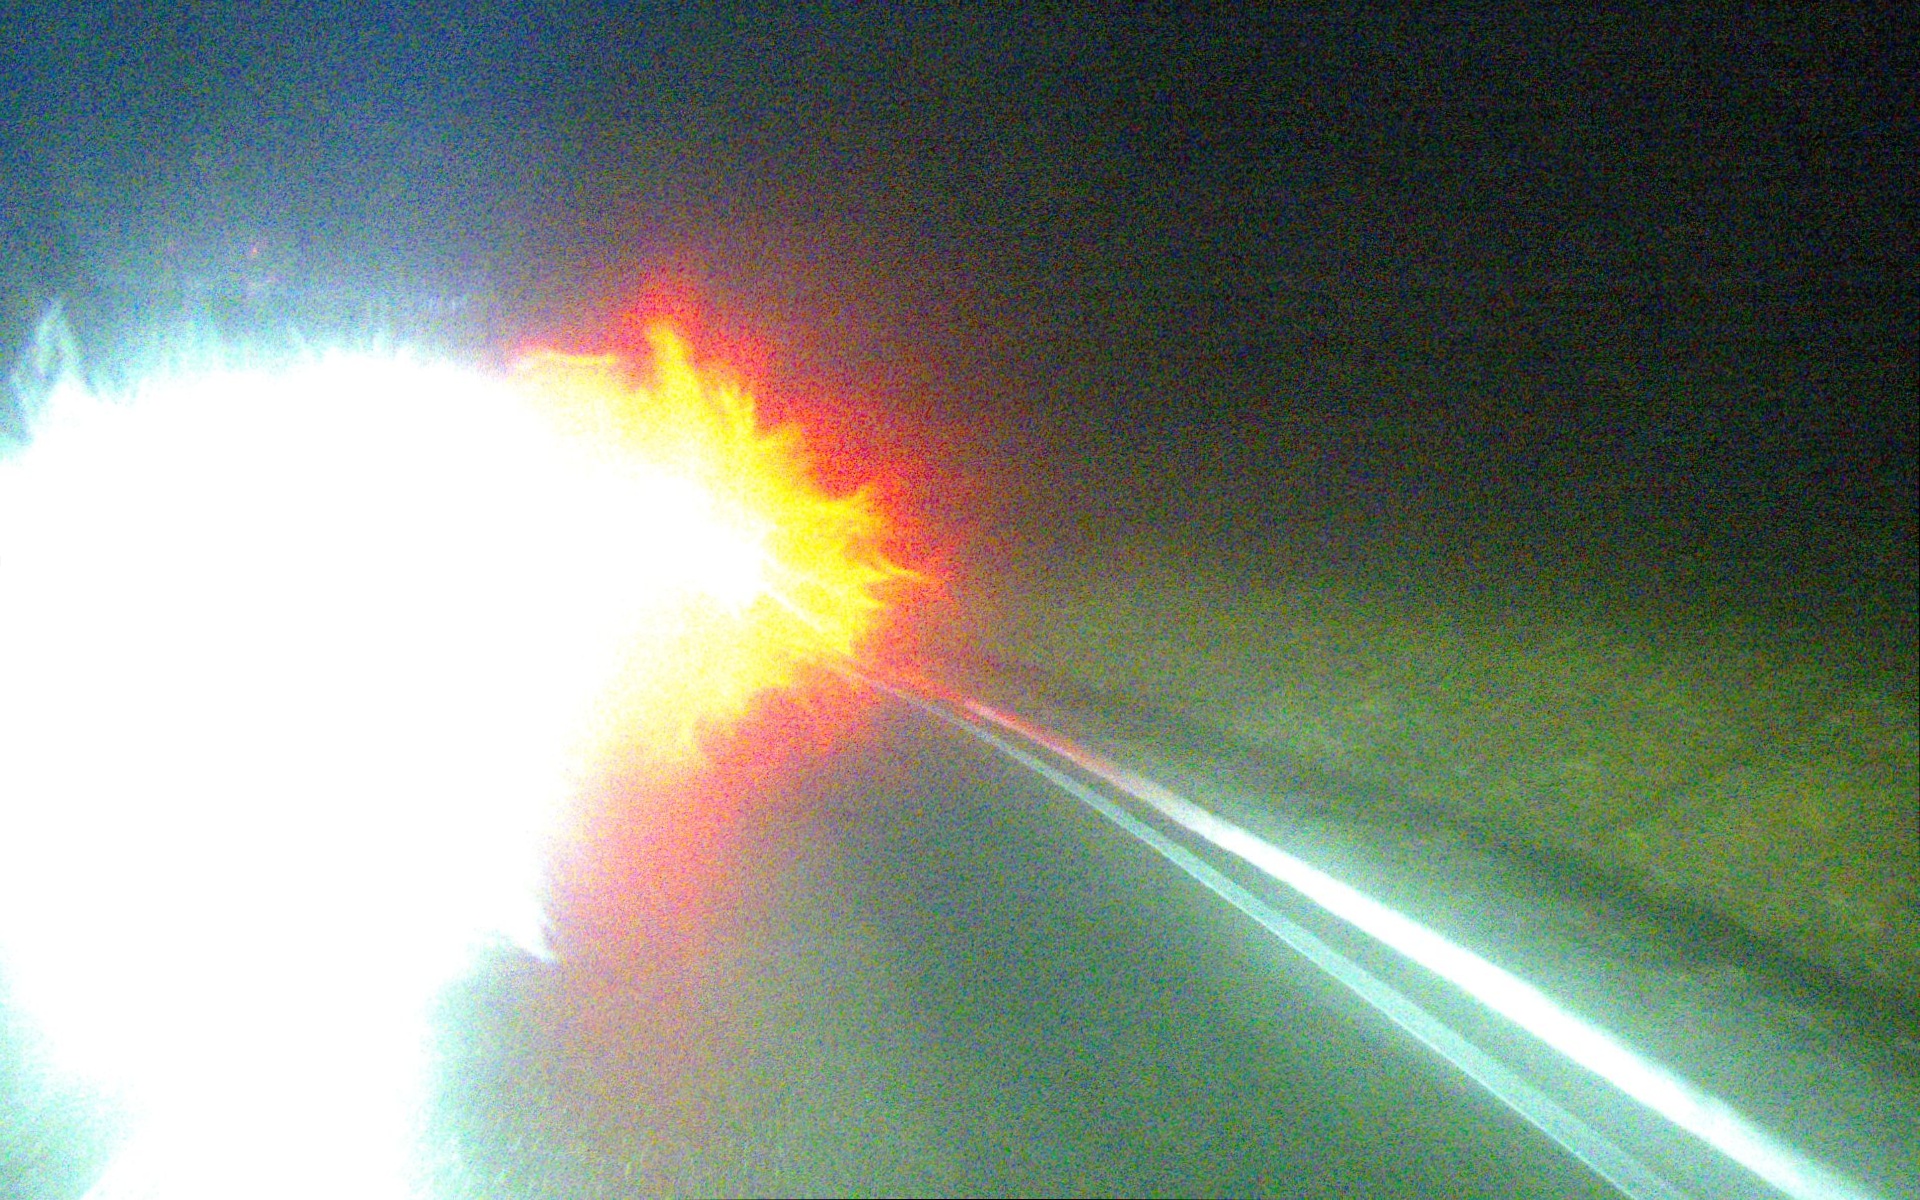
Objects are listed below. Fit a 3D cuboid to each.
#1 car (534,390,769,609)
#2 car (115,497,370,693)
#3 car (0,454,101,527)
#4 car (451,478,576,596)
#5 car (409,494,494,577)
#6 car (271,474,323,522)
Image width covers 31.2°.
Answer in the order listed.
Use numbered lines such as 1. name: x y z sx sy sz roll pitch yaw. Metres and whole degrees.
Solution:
1. car: -3.874 -1.228 42.135 2.538 2.489 5.716 0 2 -8
2. car: -5.926 -0.073 28.767 1.635 1.504 4.096 -1 1 -6
3. car: -23.157 -2.640 82.585 4.910 1.729 2.001 0 2 -14
4. car: -8.532 -1.166 65.468 1.993 2.007 4.001 3 -2 -11
5. car: -11.909 -1.489 80.341 1.740 1.708 3.700 3 -2 -11
6. car: -25.784 -3.964 133.694 1.753 1.728 4.002 3 2 -13
